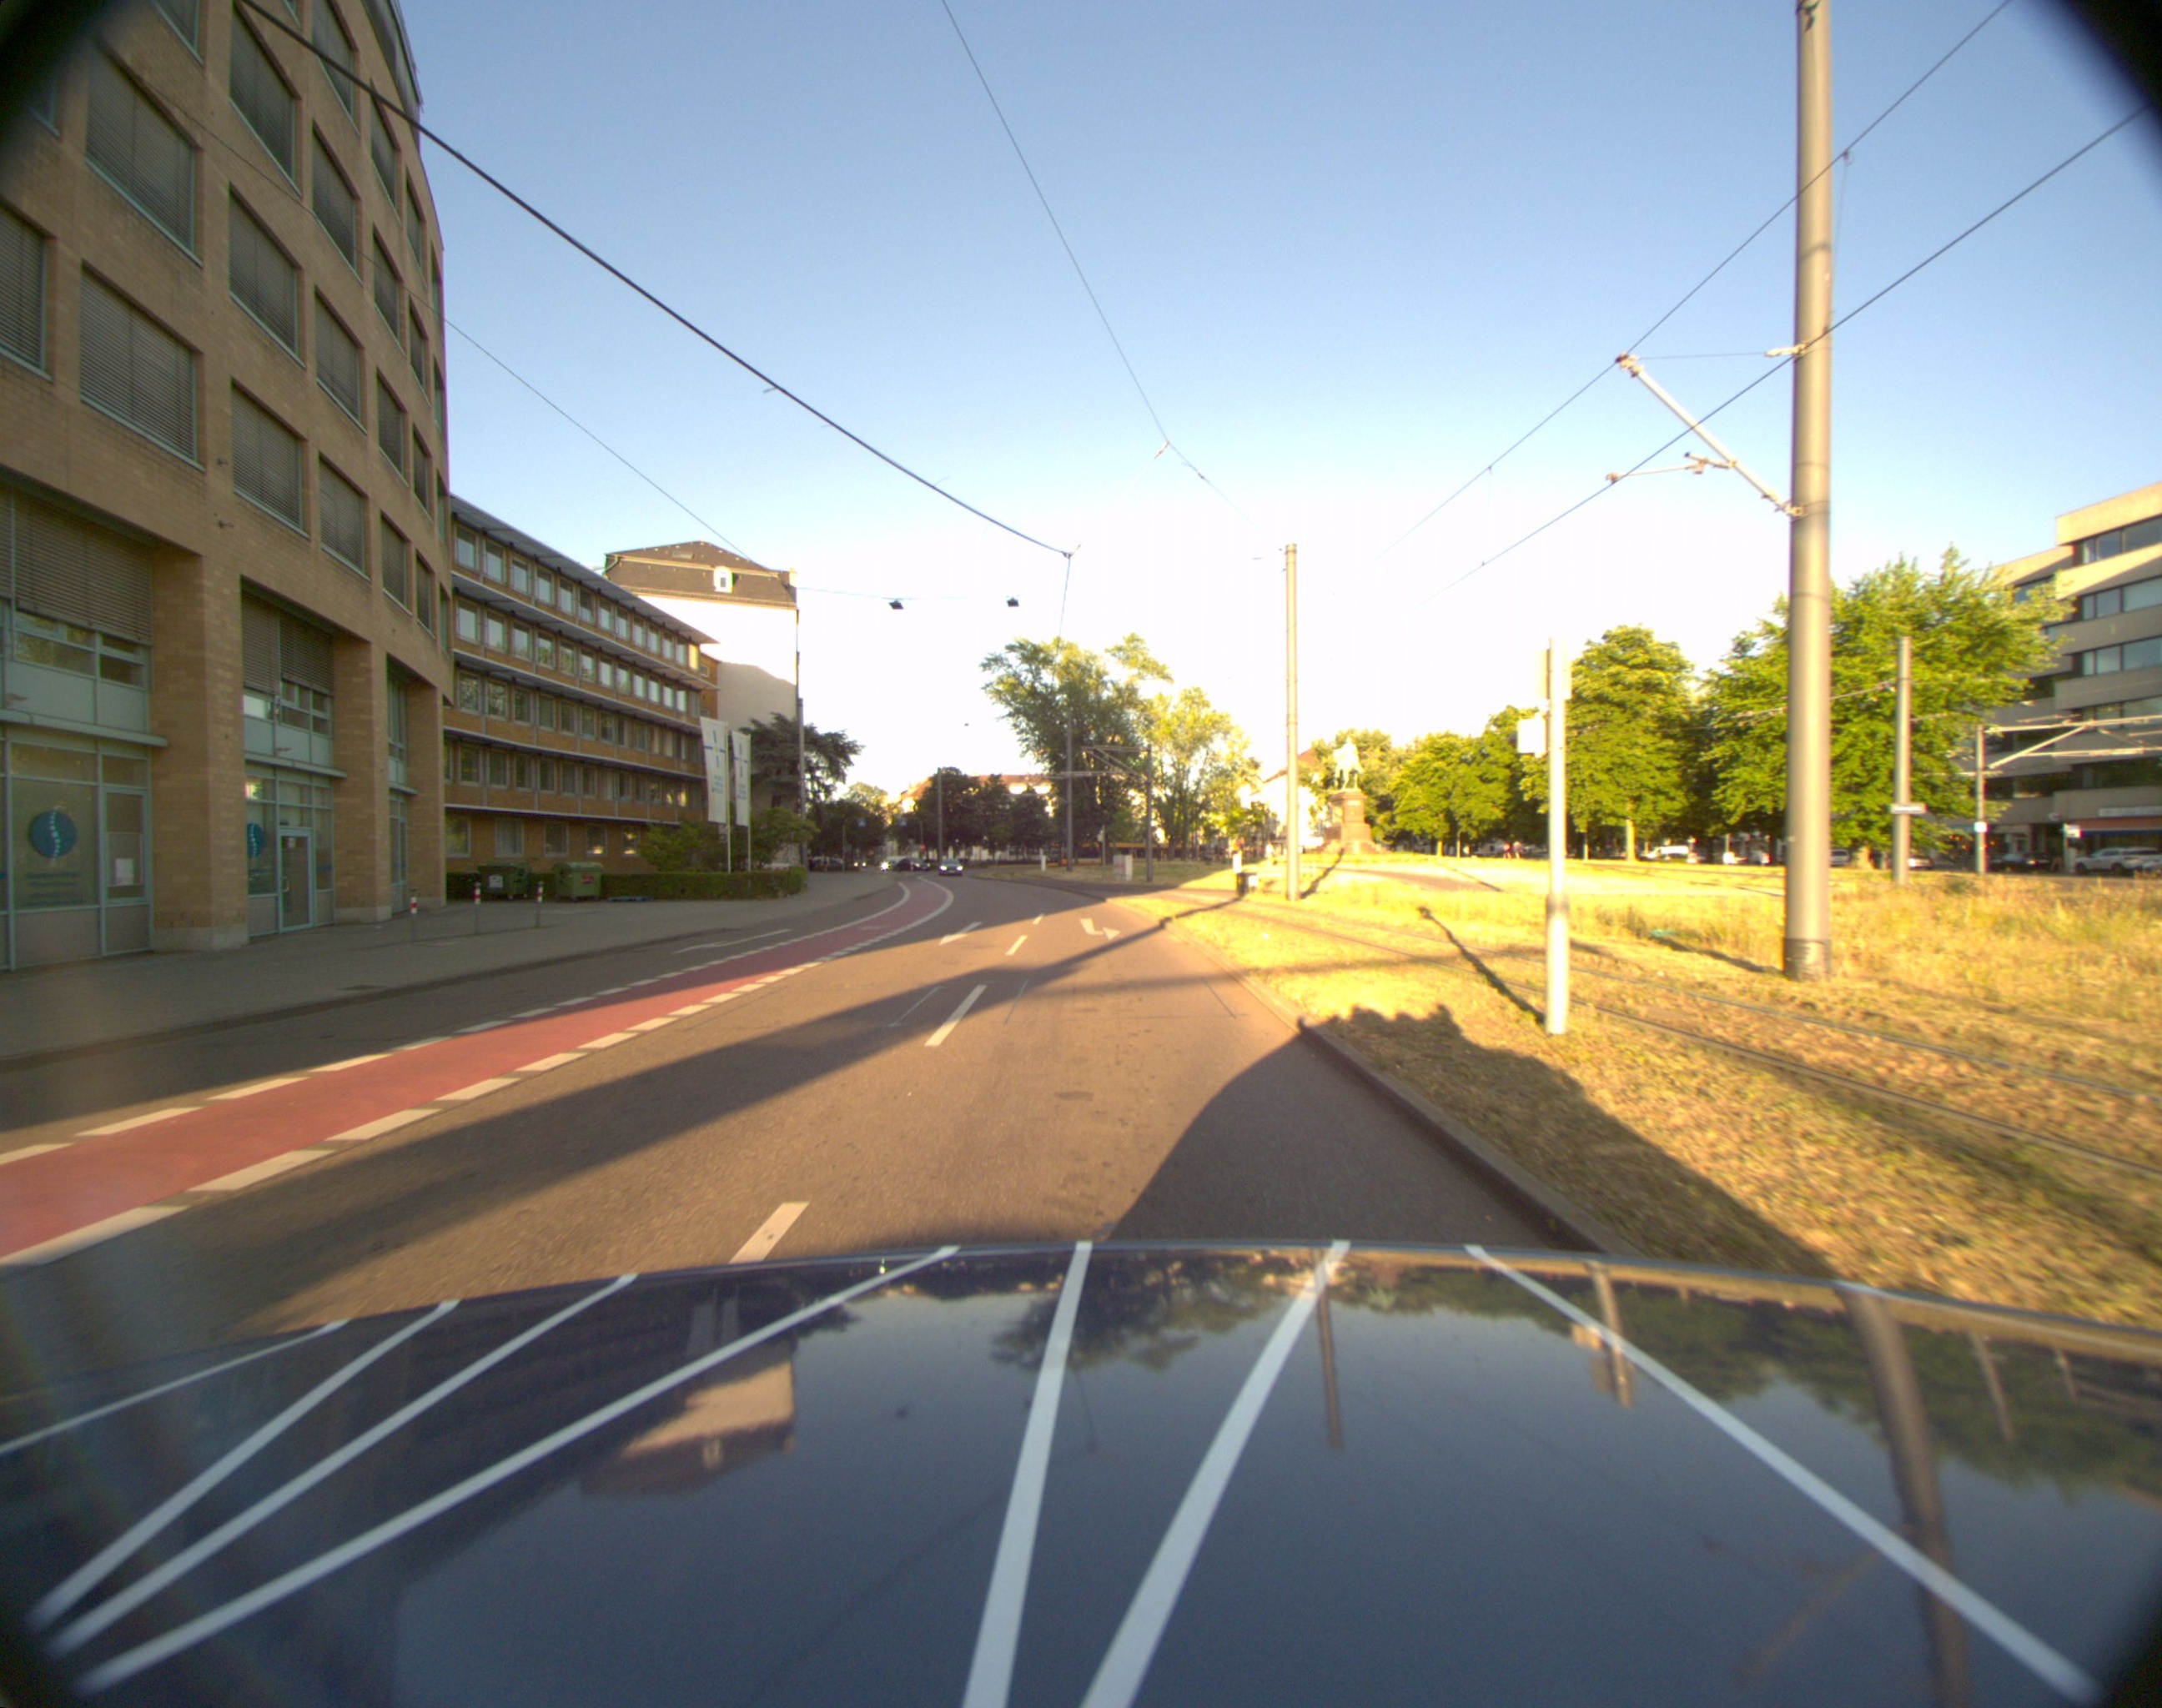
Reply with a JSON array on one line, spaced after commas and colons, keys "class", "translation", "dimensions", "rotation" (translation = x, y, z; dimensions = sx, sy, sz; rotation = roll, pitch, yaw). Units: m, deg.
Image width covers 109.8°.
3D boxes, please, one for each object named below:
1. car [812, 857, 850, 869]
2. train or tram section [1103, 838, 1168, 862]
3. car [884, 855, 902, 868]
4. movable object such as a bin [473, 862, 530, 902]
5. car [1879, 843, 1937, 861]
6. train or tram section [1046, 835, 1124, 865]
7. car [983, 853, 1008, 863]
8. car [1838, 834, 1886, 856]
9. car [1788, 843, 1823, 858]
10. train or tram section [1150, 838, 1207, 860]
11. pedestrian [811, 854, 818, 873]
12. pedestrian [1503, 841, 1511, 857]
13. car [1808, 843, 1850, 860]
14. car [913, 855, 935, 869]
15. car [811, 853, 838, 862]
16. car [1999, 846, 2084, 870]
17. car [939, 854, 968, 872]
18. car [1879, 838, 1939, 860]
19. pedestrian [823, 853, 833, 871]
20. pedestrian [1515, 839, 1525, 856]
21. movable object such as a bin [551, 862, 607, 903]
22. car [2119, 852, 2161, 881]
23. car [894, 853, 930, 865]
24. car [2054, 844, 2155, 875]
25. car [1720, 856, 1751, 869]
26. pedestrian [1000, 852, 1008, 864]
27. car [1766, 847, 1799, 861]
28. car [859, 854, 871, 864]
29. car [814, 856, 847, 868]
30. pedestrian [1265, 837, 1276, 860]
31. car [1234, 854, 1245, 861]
[{"class": "car", "translation": [-30.939, 1.108, 94.149], "dimensions": [4.403, 1.548, 1.835], "rotation": [0, -1, -19]}, {"class": "train or tram section", "translation": [7.846, -0.601, 107.275], "dimensions": [2.924, 3.123, 12.882], "rotation": [0, 1, 35]}, {"class": "car", "translation": [-22.542, 0.891, 91.071], "dimensions": [1.822, 1.473, 4.129], "rotation": [0, -1, -18]}, {"class": "movable object such as a bin", "translation": [-20.924, 0.987, 27.472], "dimensions": [1.345, 1.416, 0.923], "rotation": [0, -1, -6]}, {"class": "car", "translation": [65.454, -0.120, 60.207], "dimensions": [1.707, 1.382, 4.008], "rotation": [-1, -1, 25]}, {"class": "train or tram section", "translation": [0.767, -0.627, 97.044], "dimensions": [2.942, 3.563, 13.393], "rotation": [0, 1, 35]}, {"class": "car", "translation": [-14.844, 0.645, 131.978], "dimensions": [4.011, 1.714, 1.701], "rotation": [0, -1, -1]}, {"class": "car", "translation": [73.826, -0.842, 71.893], "dimensions": [1.755, 1.932, 4.217], "rotation": [-1, -1, 24]}, {"class": "car", "translation": [79.749, -0.351, 83.692], "dimensions": [1.793, 1.570, 4.008], "rotation": [-1, -1, 27]}, {"class": "train or tram section", "translation": [15.314, -0.806, 117.648], "dimensions": [2.917, 3.123, 12.670], "rotation": [0, 1, 36]}, {"class": "pedestrian", "translation": [-24.536, 0.890, 69.929], "dimensions": [0.578, 1.699, 0.720], "rotation": [0, 0, -17]}, {"class": "pedestrian", "translation": [38.500, -0.443, 68.652], "dimensions": [0.453, 1.503, 0.553], "rotation": [0, 0, 3]}, {"class": "car", "translation": [77.496, -0.256, 78.761], "dimensions": [1.755, 1.653, 4.007], "rotation": [-1, -1, 24]}, {"class": "car", "translation": [-16.618, 0.858, 80.272], "dimensions": [1.823, 1.473, 4.129], "rotation": [0, -1, -19]}, {"class": "car", "translation": [-43.731, 0.626, 129.545], "dimensions": [4.404, 1.603, 1.726], "rotation": [0, -1, -22]}, {"class": "car", "translation": [64.692, 0.297, 51.277], "dimensions": [1.861, 1.547, 4.076], "rotation": [-1, -1, 24]}, {"class": "car", "translation": [-11.090, 0.795, 65.847], "dimensions": [1.822, 1.473, 4.129], "rotation": [0, -1, -18]}, {"class": "car", "translation": [71.239, -0.385, 65.463], "dimensions": [1.935, 1.784, 4.217], "rotation": [-1, -1, 24]}, {"class": "pedestrian", "translation": [-24.893, 0.780, 74.903], "dimensions": [0.591, 1.781, 0.822], "rotation": [0, 0, 12]}, {"class": "pedestrian", "translation": [39.327, -0.569, 68.041], "dimensions": [0.619, 1.571, 0.553], "rotation": [0, 0, 3]}, {"class": "movable object such as a bin", "translation": [-17.887, 1.009, 27.080], "dimensions": [0.972, 1.429, 1.347], "rotation": [-1, -1, 20]}, {"class": "car", "translation": [59.142, 0.660, 41.109], "dimensions": [1.755, 1.542, 4.007], "rotation": [-1, -1, 24]}, {"class": "car", "translation": [-26.519, 0.829, 119.194], "dimensions": [5.077, 1.891, 2.122], "rotation": [0, -1, 2]}, {"class": "car", "translation": [61.559, 0.365, 45.798], "dimensions": [1.755, 1.784, 4.217], "rotation": [-1, -1, 24]}, {"class": "car", "translation": [82.394, 1.071, 95.709], "dimensions": [1.861, 1.547, 4.076], "rotation": [-1, -1, 24]}, {"class": "pedestrian", "translation": [-11.276, 0.580, 111.139], "dimensions": [0.767, 1.705, 0.787], "rotation": [-1, -1, 32]}, {"class": "car", "translation": [82.593, 0.061, 89.519], "dimensions": [1.793, 1.570, 4.008], "rotation": [-1, -1, 27]}, {"class": "car", "translation": [-36.115, 0.859, 127.018], "dimensions": [1.822, 1.473, 4.131], "rotation": [-1, -1, -13]}, {"class": "car", "translation": [-32.571, 1.013, 98.821], "dimensions": [4.072, 1.560, 1.835], "rotation": [0, -1, -18]}, {"class": "pedestrian", "translation": [13.965, -0.370, 56.056], "dimensions": [0.476, 1.680, 0.835], "rotation": [0, 0, -13]}, {"class": "car", "translation": [35.050, 0.741, 168.172], "dimensions": [1.723, 1.542, 3.968], "rotation": [0, -1, 2]}]
